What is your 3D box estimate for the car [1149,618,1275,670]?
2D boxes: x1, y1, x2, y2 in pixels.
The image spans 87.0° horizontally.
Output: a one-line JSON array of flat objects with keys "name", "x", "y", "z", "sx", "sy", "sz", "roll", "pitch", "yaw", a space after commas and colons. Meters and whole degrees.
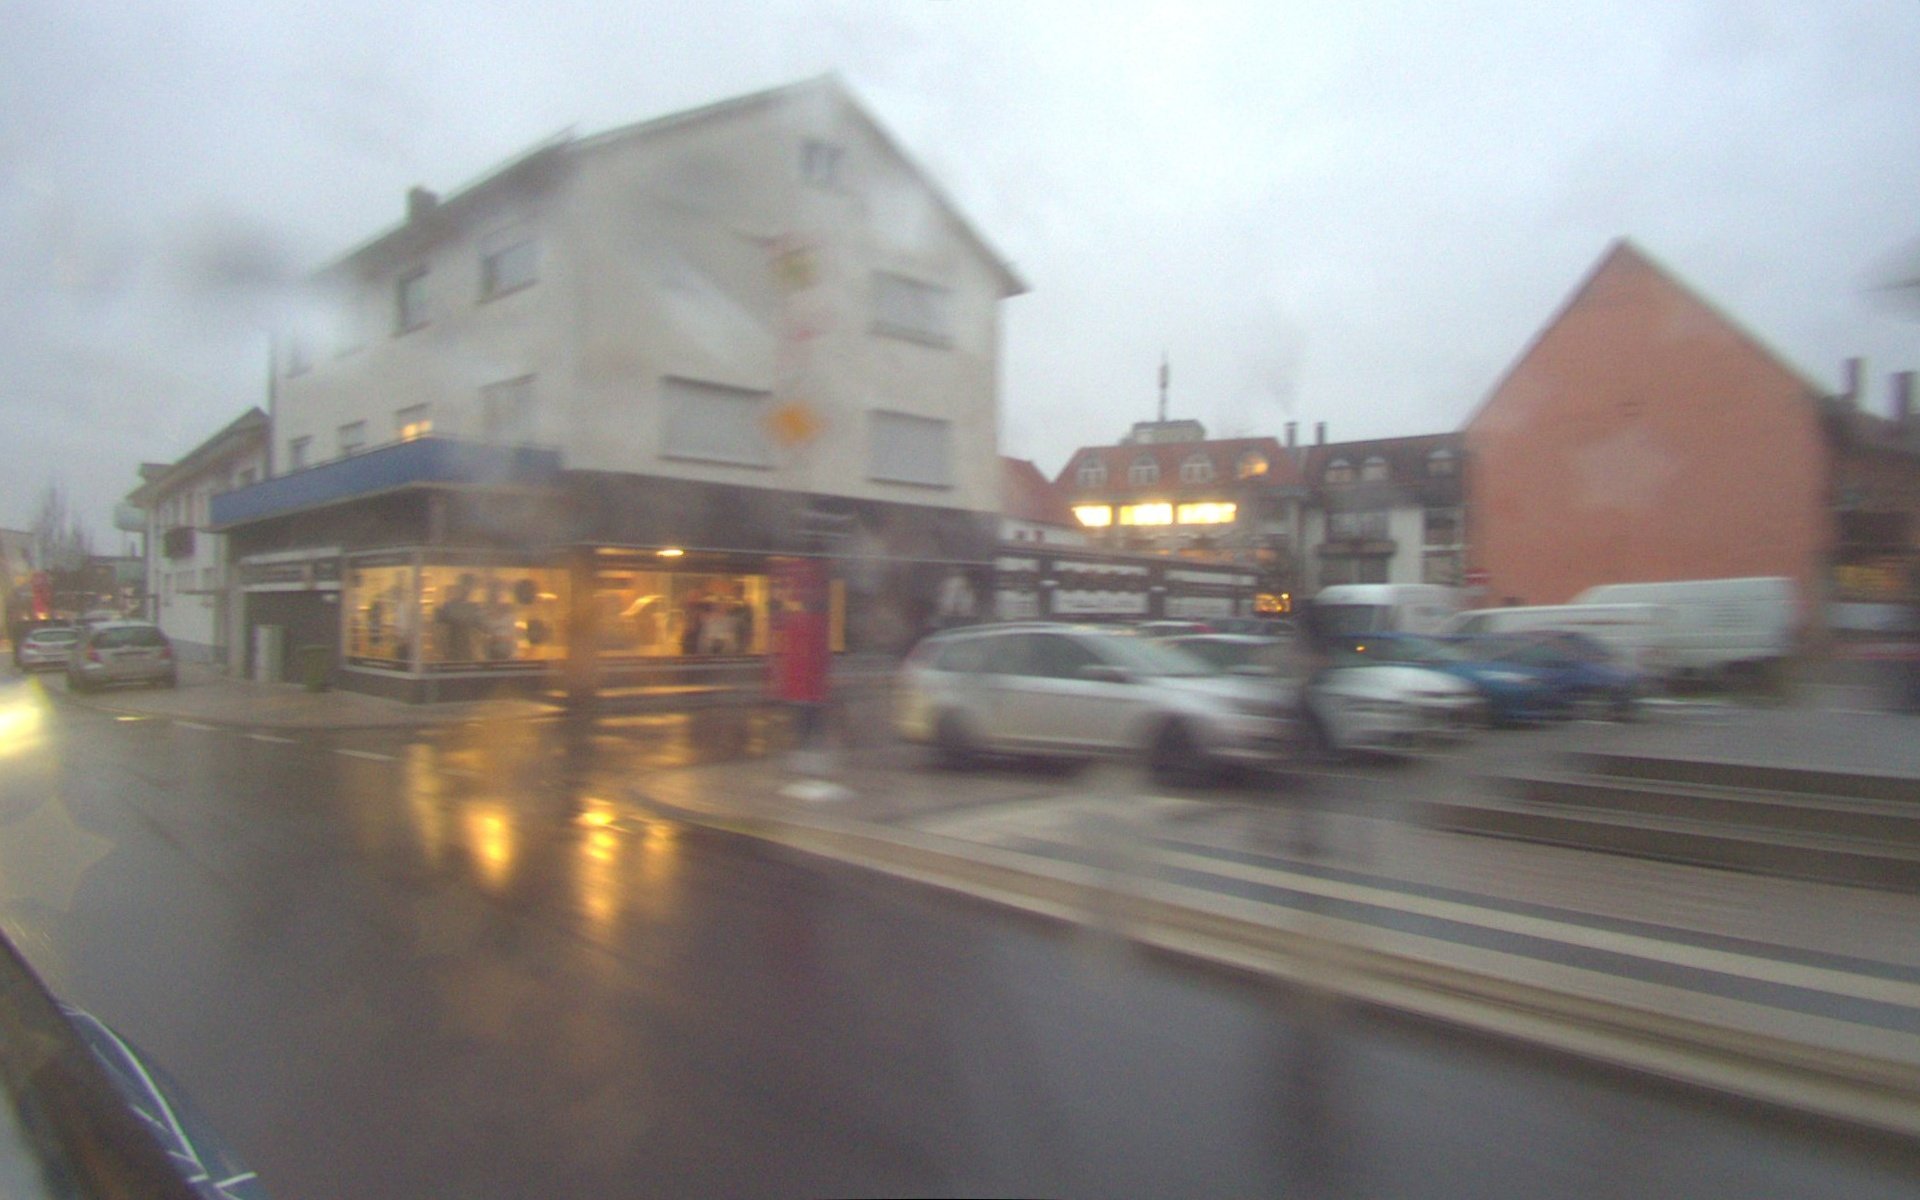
[{"name": "car", "x": 8.650, "y": 1.540, "z": 34.753, "sx": 3.946, "sy": 1.665, "sz": 1.690, "roll": -2, "pitch": -3, "yaw": 23}]

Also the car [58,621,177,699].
[{"name": "car", "x": -20.051, "y": 1.368, "z": 24.032, "sx": 3.816, "sy": 1.626, "sz": 1.702, "roll": -2, "pitch": 0, "yaw": 43}]

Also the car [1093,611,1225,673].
[{"name": "car", "x": 6.505, "y": 1.390, "z": 33.111, "sx": 3.946, "sy": 1.885, "sz": 1.690, "roll": -2, "pitch": -3, "yaw": 23}]

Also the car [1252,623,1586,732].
[{"name": "car", "x": 7.057, "y": 1.174, "z": 15.955, "sx": 1.677, "sy": 1.475, "sz": 4.455, "roll": 2, "pitch": -4, "yaw": -42}]

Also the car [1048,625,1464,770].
[{"name": "car", "x": 3.321, "y": 1.074, "z": 12.036, "sx": 4.451, "sy": 1.411, "sz": 1.678, "roll": -4, "pitch": -4, "yaw": 44}]

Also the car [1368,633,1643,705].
[{"name": "car", "x": 10.614, "y": 1.340, "z": 19.982, "sx": 1.676, "sy": 1.245, "sz": 4.456, "roll": 1, "pitch": -4, "yaw": -41}]

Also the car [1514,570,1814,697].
[{"name": "car", "x": 15.428, "y": 0.809, "z": 22.446, "sx": 5.165, "sy": 2.511, "sz": 1.678, "roll": -4, "pitch": -4, "yaw": 45}]

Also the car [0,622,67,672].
[{"name": "car", "x": -38.425, "y": 1.941, "z": 41.909, "sx": 1.856, "sy": 1.914, "sz": 4.843, "roll": -2, "pitch": -1, "yaw": -39}]

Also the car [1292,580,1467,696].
[{"name": "car", "x": 11.168, "y": 0.965, "z": 26.588, "sx": 1.978, "sy": 2.682, "sz": 6.668, "roll": 0, "pitch": -2, "yaw": 44}]

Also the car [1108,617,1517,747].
[{"name": "car", "x": 4.762, "y": 1.101, "z": 14.323, "sx": 2.078, "sy": 1.511, "sz": 5.047, "roll": 2, "pitch": -4, "yaw": -44}]

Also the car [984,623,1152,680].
[{"name": "car", "x": 3.029, "y": 1.458, "z": 28.514, "sx": 4.421, "sy": 1.475, "sz": 1.690, "roll": -2, "pitch": -3, "yaw": 23}]

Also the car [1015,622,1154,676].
[{"name": "car", "x": 3.862, "y": 1.531, "z": 31.315, "sx": 3.946, "sy": 1.550, "sz": 1.690, "roll": -2, "pitch": -3, "yaw": 23}]

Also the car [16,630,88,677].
[{"name": "car", "x": -31.748, "y": 1.836, "z": 35.407, "sx": 1.772, "sy": 1.467, "sz": 4.400, "roll": -2, "pitch": 0, "yaw": -42}]

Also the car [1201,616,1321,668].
[{"name": "car", "x": 10.856, "y": 1.535, "z": 36.500, "sx": 3.946, "sy": 1.747, "sz": 1.690, "roll": -2, "pitch": -3, "yaw": 23}]

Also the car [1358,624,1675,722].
[{"name": "car", "x": 9.440, "y": 1.229, "z": 17.489, "sx": 1.677, "sy": 1.475, "sz": 4.455, "roll": 2, "pitch": -4, "yaw": -42}]

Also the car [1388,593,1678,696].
[{"name": "car", "x": 12.243, "y": 1.000, "z": 21.909, "sx": 5.162, "sy": 1.980, "sz": 1.679, "roll": -4, "pitch": -4, "yaw": 43}]

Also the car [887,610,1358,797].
[{"name": "car", "x": 1.475, "y": 0.964, "z": 10.309, "sx": 4.445, "sy": 1.511, "sz": 1.746, "roll": -4, "pitch": -4, "yaw": 39}]

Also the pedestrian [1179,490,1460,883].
[{"name": "pedestrian", "x": 2.051, "y": 0.450, "z": 5.811, "sx": 1.202, "sy": 1.953, "sz": 0.962, "roll": -2, "pitch": -3, "yaw": 44}]

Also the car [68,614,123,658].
[{"name": "car", "x": -55.825, "y": 2.303, "z": 65.438, "sx": 2.014, "sy": 2.679, "sz": 4.222, "roll": -2, "pitch": 0, "yaw": -32}]
